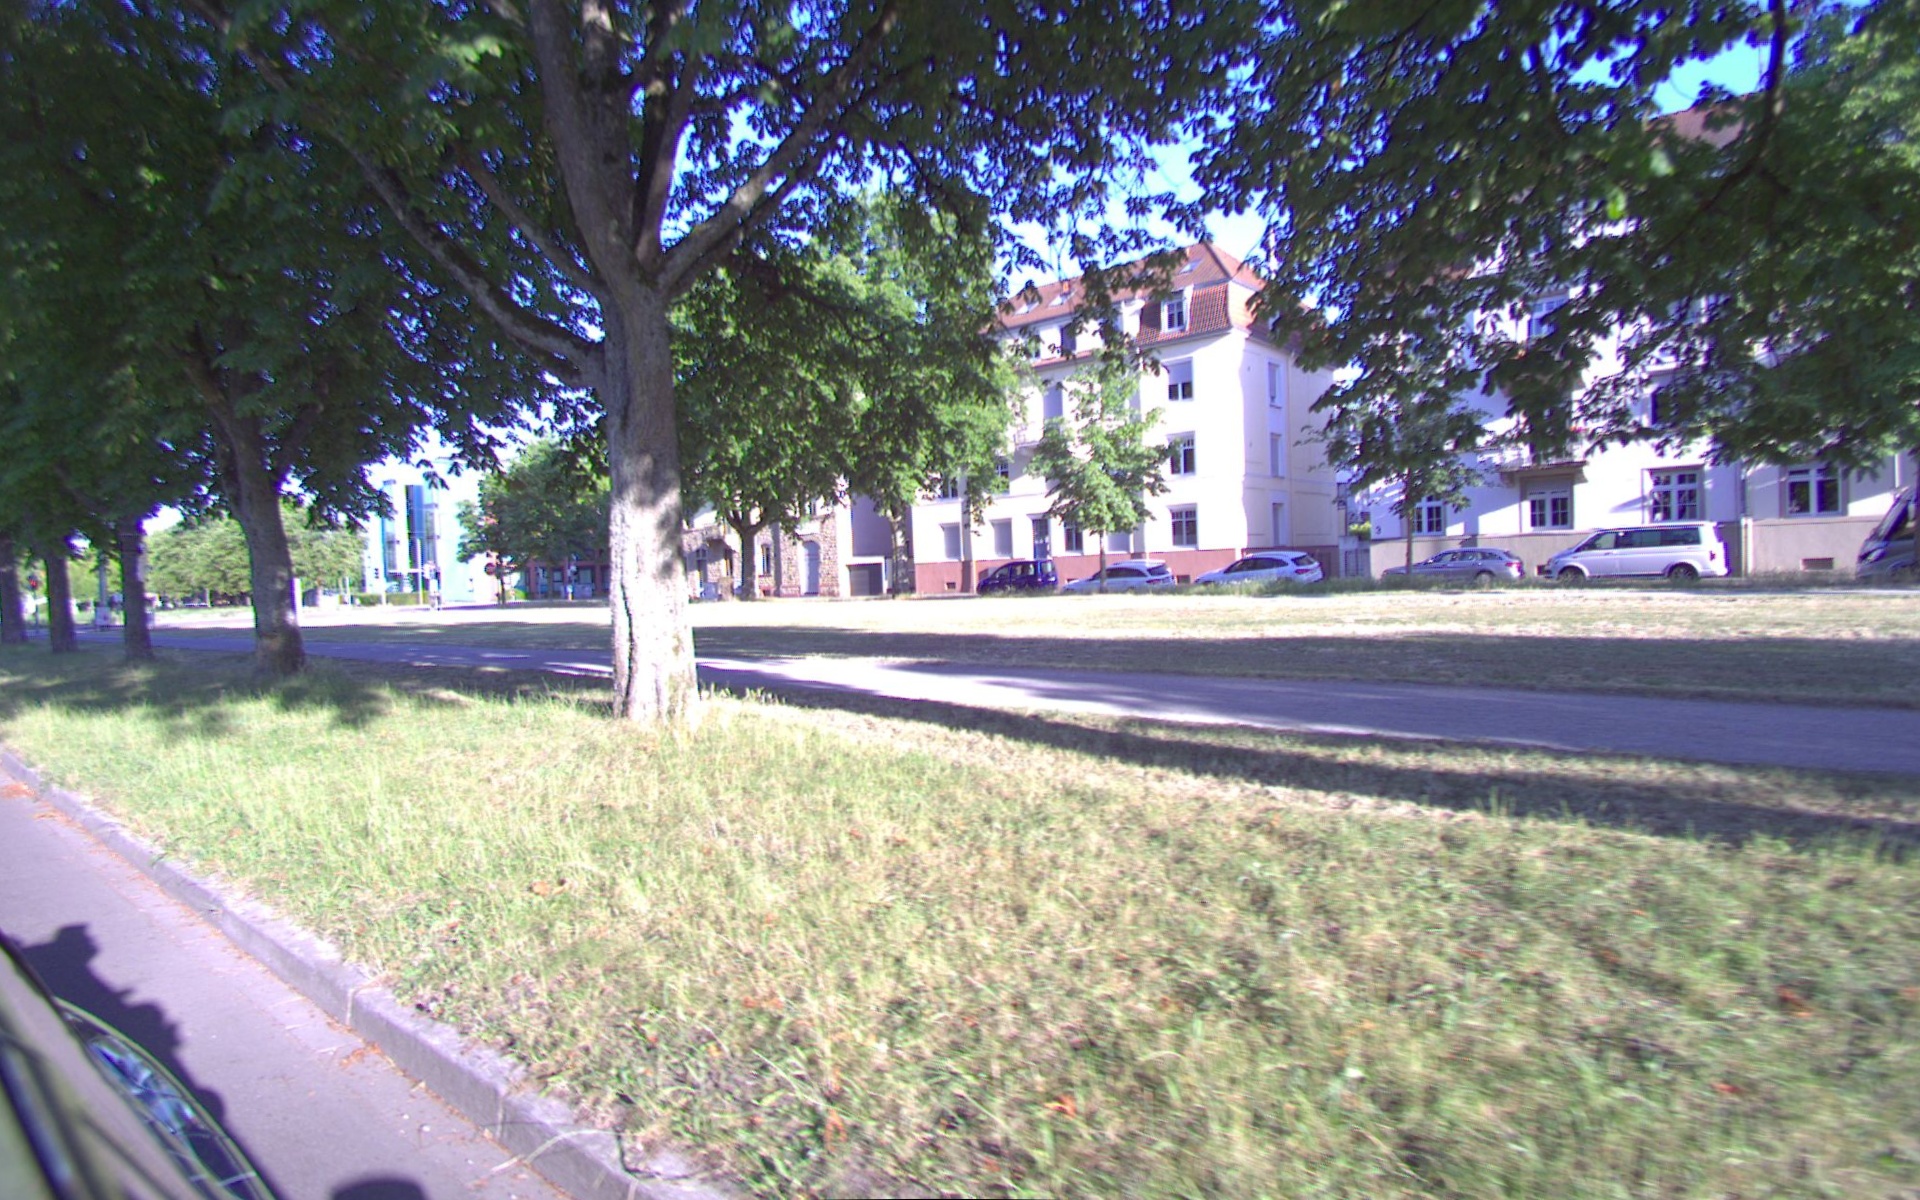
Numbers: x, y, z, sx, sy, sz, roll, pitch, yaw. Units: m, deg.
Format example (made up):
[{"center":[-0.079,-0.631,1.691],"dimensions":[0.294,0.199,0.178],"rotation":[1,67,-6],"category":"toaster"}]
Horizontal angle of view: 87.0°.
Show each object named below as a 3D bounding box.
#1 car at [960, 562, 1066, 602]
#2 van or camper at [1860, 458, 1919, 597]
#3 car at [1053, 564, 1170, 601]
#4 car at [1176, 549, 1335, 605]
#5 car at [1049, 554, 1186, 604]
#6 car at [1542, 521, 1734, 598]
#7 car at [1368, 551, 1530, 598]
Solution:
[{"center":[2.555,-0.864,49.418],"dimensions":[4.870,1.703,1.974],"rotation":[-1,2,39],"category":"car"},{"center":[25.113,-1.778,22.214],"dimensions":[7.894,3.133,3.221],"rotation":[-1,2,42],"category":"van or camper"},{"center":[6.791,-0.765,45.639],"dimensions":[4.870,1.464,1.974],"rotation":[-1,2,39],"category":"car"},{"center":[10.145,-0.767,35.015],"dimensions":[4.874,1.703,1.973],"rotation":[-1,2,42],"category":"car"},{"center":[5.956,-0.767,38.632],"dimensions":[4.874,1.703,1.973],"rotation":[-1,2,42],"category":"car"},{"center":[21.766,-1.274,32.617],"dimensions":[4.876,2.218,1.972],"rotation":[-1,2,43],"category":"car"},{"center":[17.426,-0.891,36.173],"dimensions":[4.870,1.464,1.974],"rotation":[-1,2,39],"category":"car"}]
